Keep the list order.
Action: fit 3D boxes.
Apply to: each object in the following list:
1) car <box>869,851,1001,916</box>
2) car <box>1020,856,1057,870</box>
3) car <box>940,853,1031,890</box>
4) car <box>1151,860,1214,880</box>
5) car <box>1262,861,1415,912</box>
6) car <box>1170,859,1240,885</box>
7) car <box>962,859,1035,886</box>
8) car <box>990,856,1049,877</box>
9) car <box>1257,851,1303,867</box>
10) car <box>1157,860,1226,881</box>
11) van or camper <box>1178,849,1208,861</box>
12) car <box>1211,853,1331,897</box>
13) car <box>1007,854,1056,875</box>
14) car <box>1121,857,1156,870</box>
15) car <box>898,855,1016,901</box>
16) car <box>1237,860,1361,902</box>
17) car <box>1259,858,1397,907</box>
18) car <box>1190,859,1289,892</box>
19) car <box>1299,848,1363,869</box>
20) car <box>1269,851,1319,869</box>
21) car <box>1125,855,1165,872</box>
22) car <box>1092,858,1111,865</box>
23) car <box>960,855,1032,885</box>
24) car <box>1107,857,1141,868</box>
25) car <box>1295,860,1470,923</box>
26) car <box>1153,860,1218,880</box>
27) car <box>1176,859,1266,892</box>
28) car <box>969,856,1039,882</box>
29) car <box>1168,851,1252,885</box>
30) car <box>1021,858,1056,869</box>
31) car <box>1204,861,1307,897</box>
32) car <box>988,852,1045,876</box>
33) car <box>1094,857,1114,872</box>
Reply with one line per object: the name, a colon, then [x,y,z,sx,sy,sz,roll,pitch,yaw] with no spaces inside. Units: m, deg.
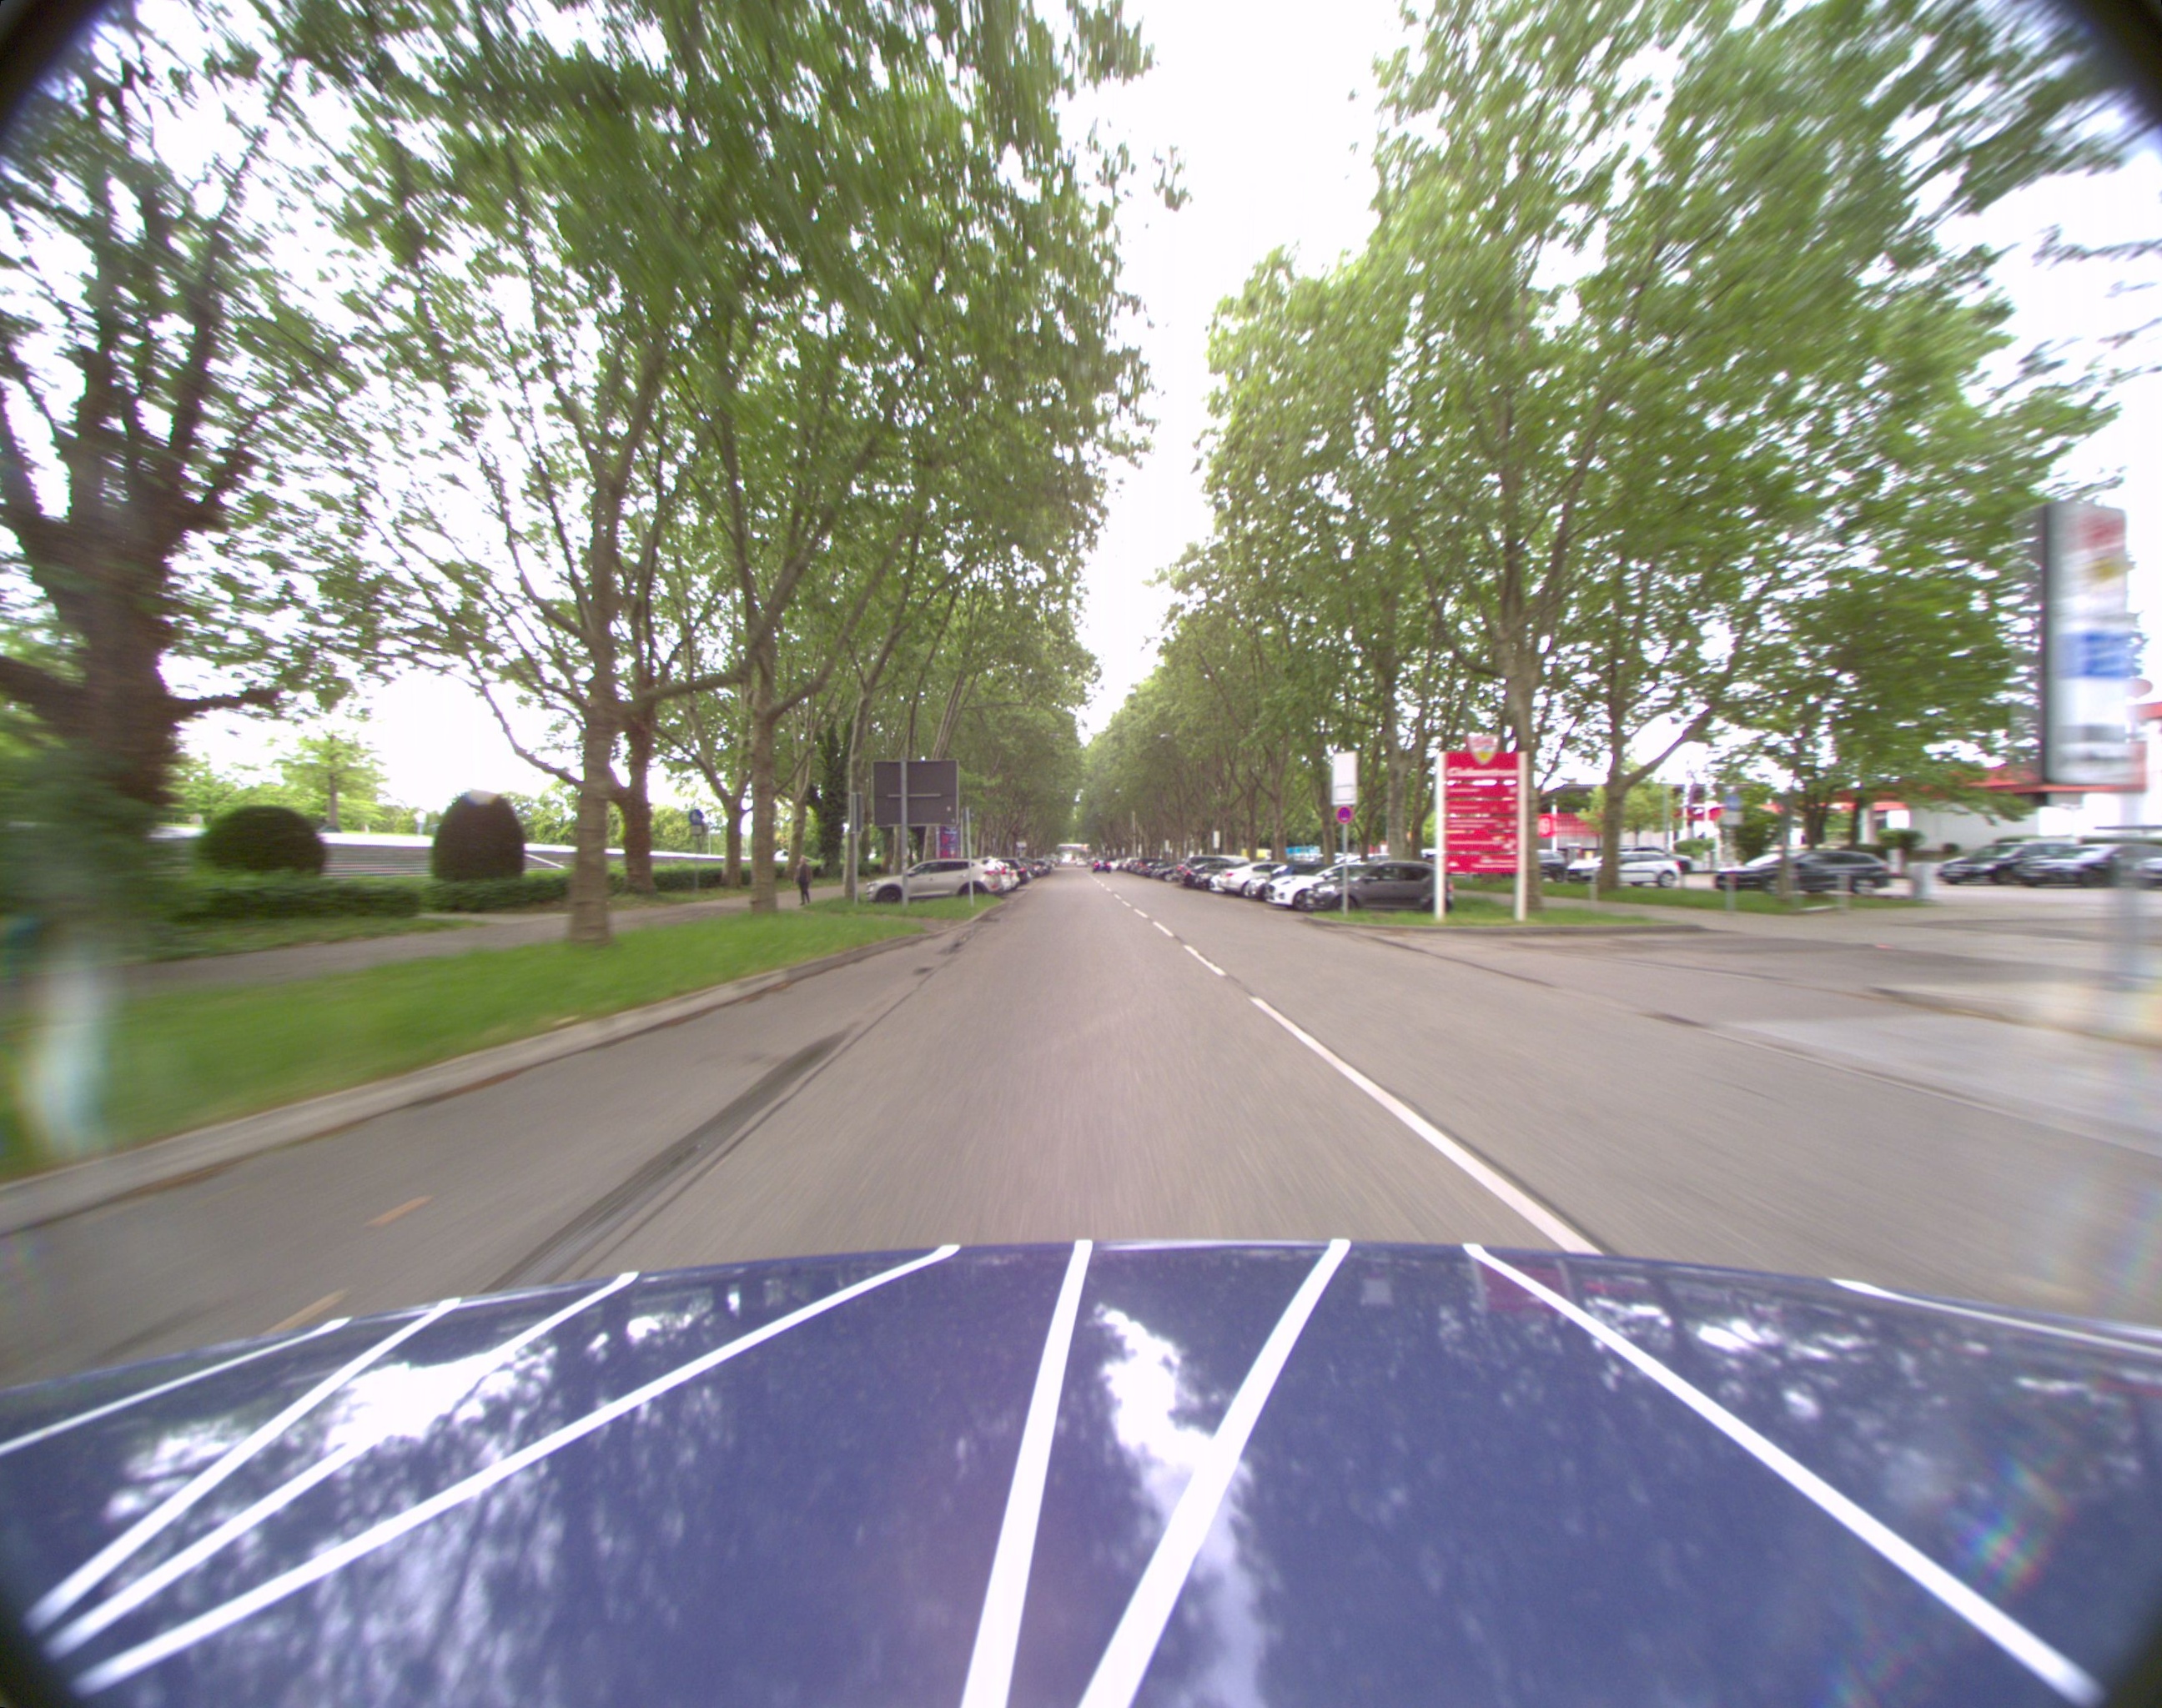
car: [-4.834,0.965,25.604,3.997,2.002,2.000,-2,0,0]
car: [-5.325,1.169,95.738,4.535,1.613,2.054,-2,0,0]
car: [-4.707,0.863,37.948,4.358,1.750,1.925,0,0,-2]
car: [7.705,1.219,57.921,4.475,1.358,1.859,2,0,-2]
car: [7.670,0.964,22.922,4.003,1.377,1.912,-1,1,3]
car: [7.447,1.104,45.774,3.796,1.463,1.763,1,0,-11]
car: [-4.909,1.080,45.639,4.159,1.449,1.727,-2,0,0]
car: [-4.789,1.004,59.812,4.356,1.493,1.926,-2,0,2]
car: [22.158,0.564,84.753,4.565,1.710,1.999,1,0,-3]
car: [7.683,1.112,53.174,4.475,1.361,1.880,1,0,-1]
van or camper: [21.688,0.187,147.211,5.299,2.087,2.243,-1,1,-3]
car: [7.574,0.829,30.591,4.275,1.539,1.907,2,0,-3]
car: [-4.729,0.997,72.548,4.507,1.786,2.047,-2,0,-1]
car: [6.850,1.158,90.648,3.997,1.444,1.855,-1,1,0]
car: [-4.884,0.944,30.443,4.357,1.624,1.925,-2,0,0]
car: [7.924,0.962,27.855,3.997,1.397,1.861,-1,1,-1]
car: [8.190,0.933,25.461,4.004,1.485,1.832,-1,1,-1]
car: [7.378,0.987,35.691,4.200,1.346,1.966,-1,1,-3]
car: [22.089,0.375,67.252,4.955,1.786,2.182,-1,1,-3]
car: [22.200,0.593,79.405,4.565,1.710,1.999,1,0,-3]
car: [6.765,1.010,80.569,3.997,1.672,1.855,-1,1,0]
car: [4.461,1.538,163.133,3.997,1.422,2.001,1,-1,1]
car: [-5.346,1.010,48.159,4.358,1.735,1.836,-2,0,-3]
car: [5.760,1.123,102.879,4.420,1.416,1.776,1,0,-2]
car: [8.035,0.970,20.516,4.004,1.531,1.805,-1,1,1]
car: [7.549,1.171,55.366,4.474,1.340,1.902,1,0,1]
car: [6.951,1.044,38.111,4.139,1.443,2.013,2,0,1]
car: [-5.341,1.044,53.106,4.602,1.629,1.873,-2,0,1]
car: [7.251,0.788,43.070,4.330,1.799,1.867,1,0,-4]
car: [-5.766,1.282,103.248,4.598,1.409,1.719,-2,0,2]
car: [7.578,1.071,33.216,3.998,1.396,1.885,-1,1,-2]
car: [-5.354,0.819,63.472,4.505,1.786,2.048,-2,0,3]
car: [2.395,1.086,79.252,1.847,1.501,4.014,-1,0,-2]
